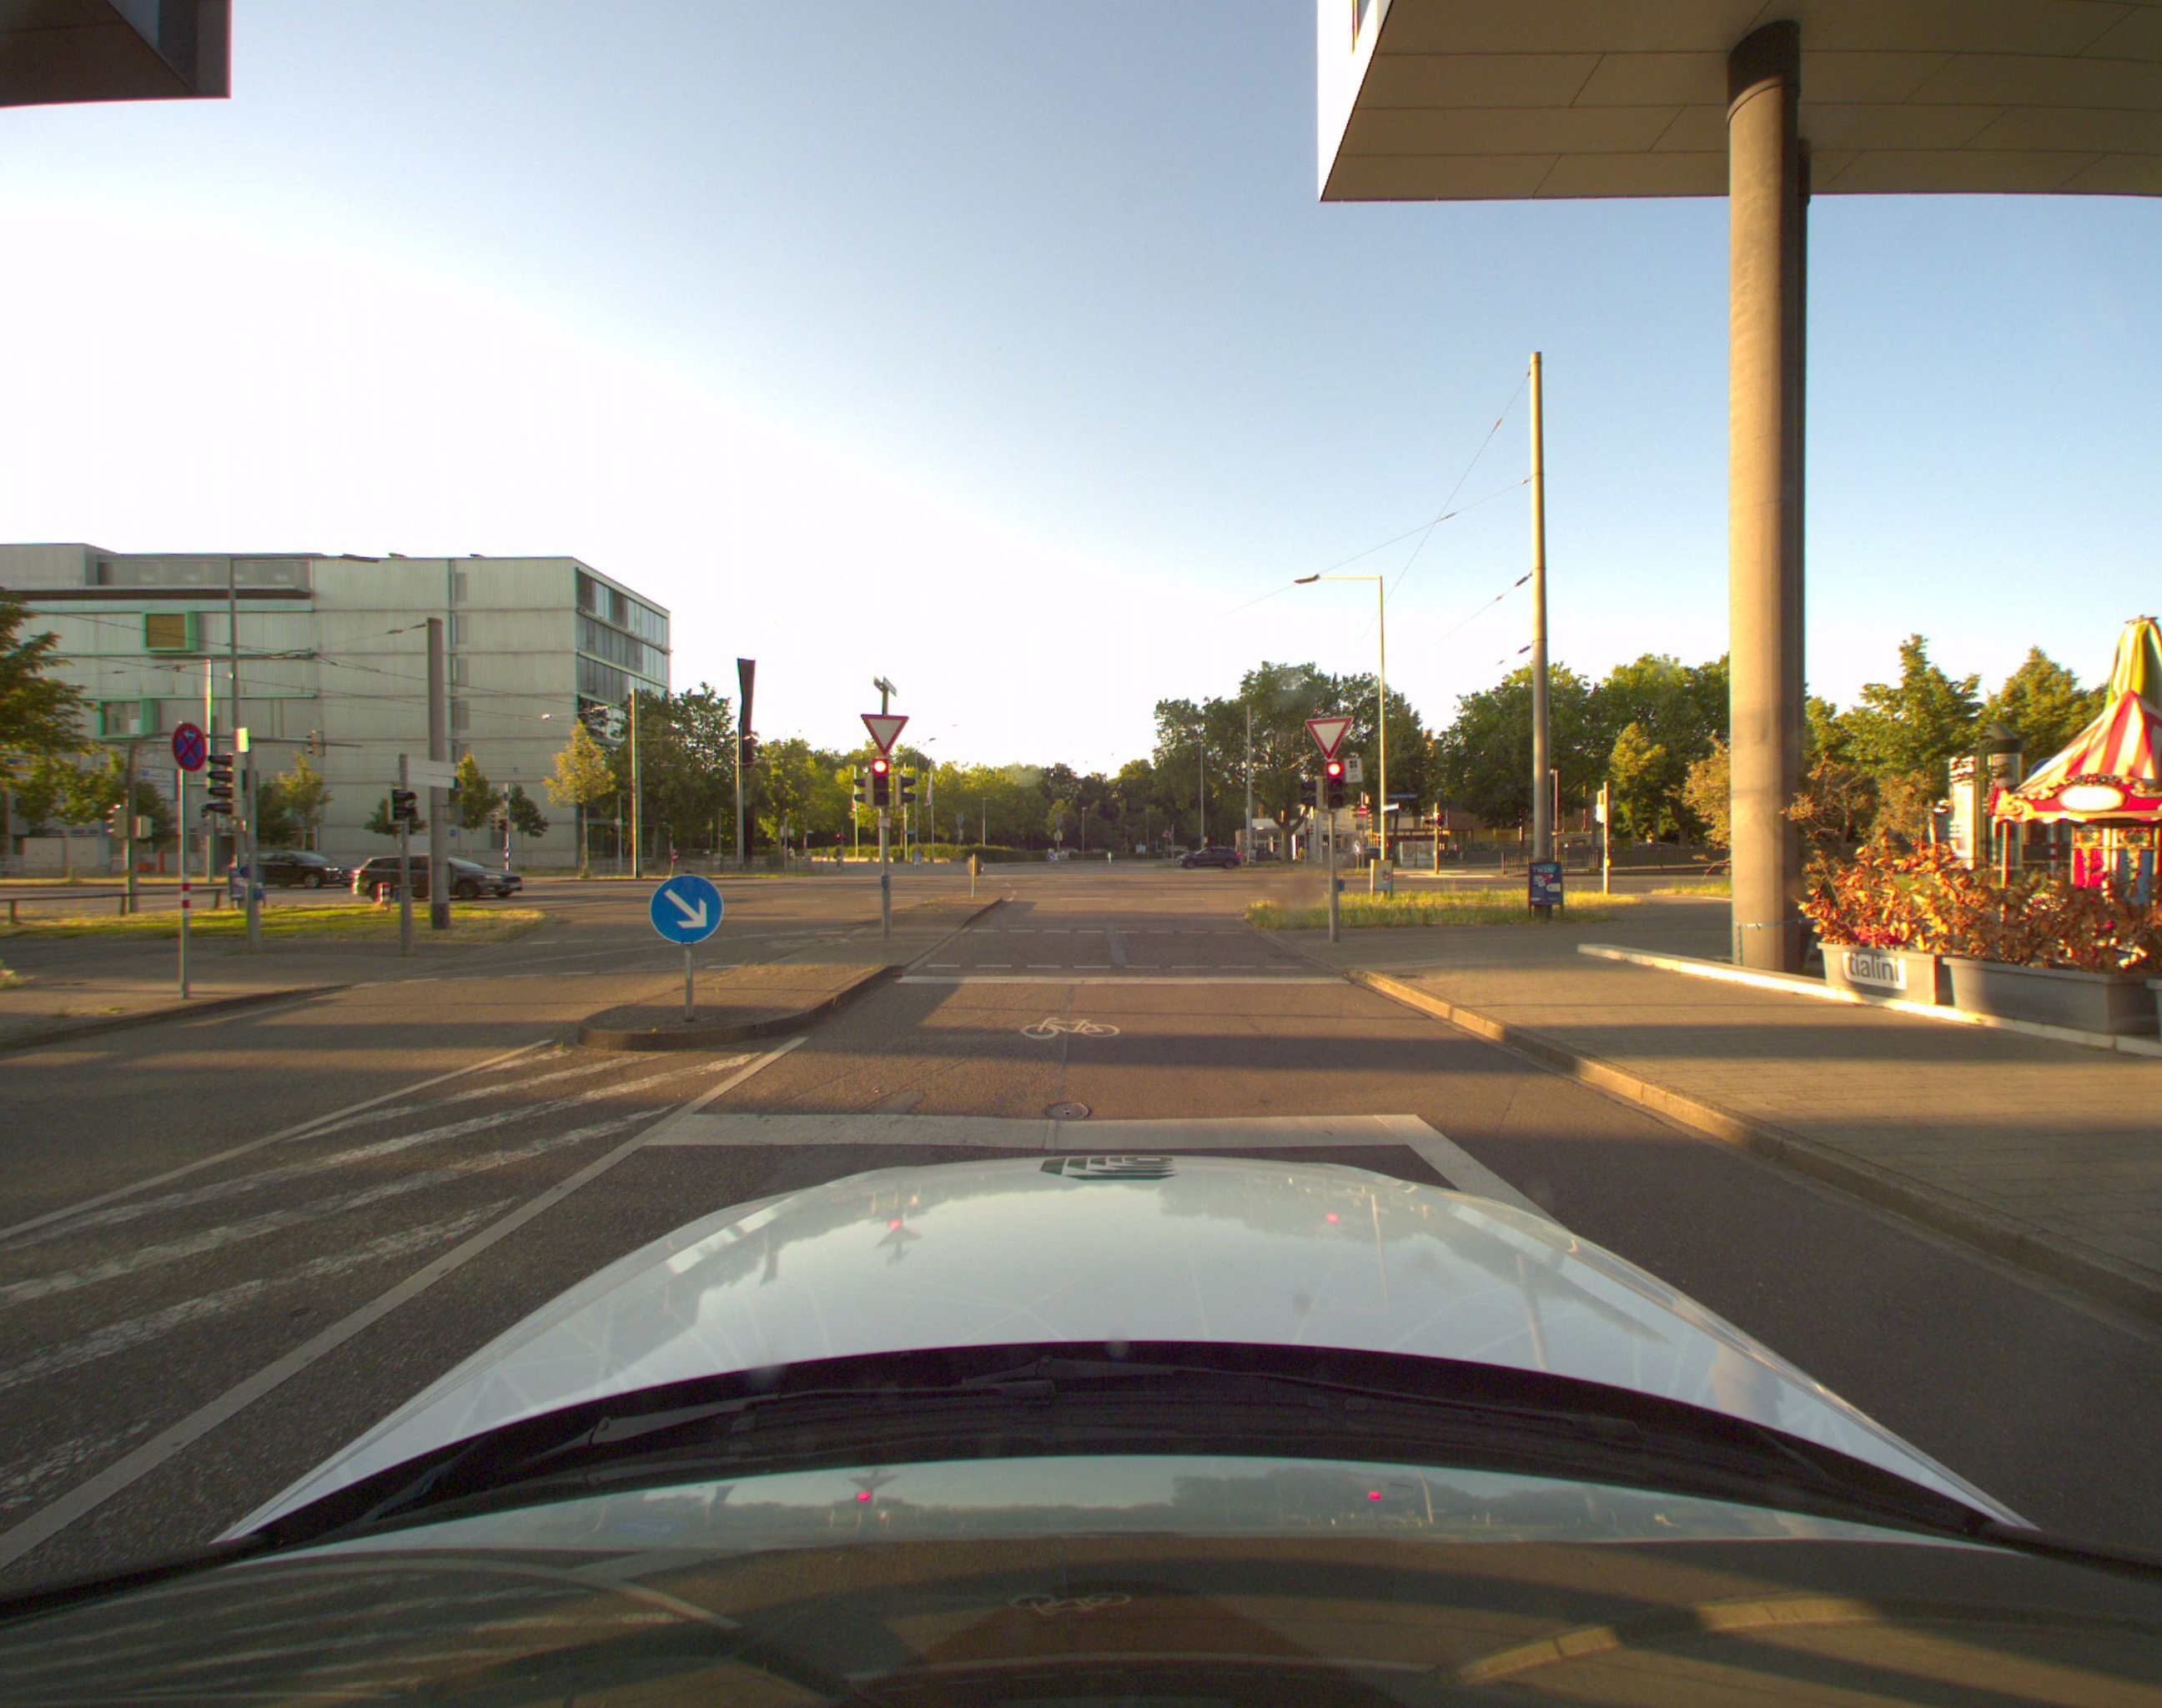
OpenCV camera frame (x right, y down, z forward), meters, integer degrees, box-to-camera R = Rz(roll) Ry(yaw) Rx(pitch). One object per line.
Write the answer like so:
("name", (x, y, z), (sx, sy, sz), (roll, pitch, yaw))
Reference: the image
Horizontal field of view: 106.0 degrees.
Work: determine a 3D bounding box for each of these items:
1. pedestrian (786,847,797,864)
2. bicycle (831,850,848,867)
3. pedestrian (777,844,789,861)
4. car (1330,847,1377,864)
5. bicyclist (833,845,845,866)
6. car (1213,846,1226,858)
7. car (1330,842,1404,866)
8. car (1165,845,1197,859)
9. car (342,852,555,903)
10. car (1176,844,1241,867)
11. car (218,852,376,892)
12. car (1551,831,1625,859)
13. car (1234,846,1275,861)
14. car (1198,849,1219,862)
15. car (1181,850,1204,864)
("pedestrian", (-30.921, 0.138, 86.967), (0.852, 1.744, 0.835), (-1, 0, 36))
("bicycle", (-20.331, 0.363, 68.628), (0.734, 1.341, 2.664), (-1, 0, -31))
("pedestrian", (-31.498, -0.141, 86.125), (0.852, 1.744, 0.835), (-1, 0, 32))
("car", (23.984, 0.158, 71.707), (3.715, 1.440, 1.669), (-1, -1, 11))
("bicyclist", (-20.357, 0.142, 68.554), (0.756, 1.709, 0.911), (-1, 0, -32))
("car", (22.256, -0.262, 130.879), (1.850, 1.794, 4.013), (-1, -1, 12))
("car", (18.910, 0.023, 54.035), (4.308, 1.496, 1.808), (-1, -1, 7))
("car", (15.403, -0.344, 125.728), (4.753, 2.006, 2.002), (-1, -1, 3))
("car", (-20.089, 0.710, 26.102), (5.006, 1.511, 1.982), (-1, 0, -9))
("car", (8.821, 0.113, 56.498), (4.313, 1.496, 1.806), (-1, -1, 3))
("car", (-32.514, 0.731, 33.891), (4.467, 1.557, 1.986), (-1, 0, -4))
("car", (47.887, -0.838, 77.048), (5.561, 2.551, 2.235), (-1, 0, 9))
("car", (18.913, 0.005, 88.900), (4.194, 1.552, 2.005), (-1, -1, 9))
("car", (16.196, 0.205, 103.179), (1.978, 1.662, 4.018), (-1, -1, 17))
("car", (13.094, 0.368, 95.558), (1.978, 1.662, 4.018), (-1, -1, 17))
